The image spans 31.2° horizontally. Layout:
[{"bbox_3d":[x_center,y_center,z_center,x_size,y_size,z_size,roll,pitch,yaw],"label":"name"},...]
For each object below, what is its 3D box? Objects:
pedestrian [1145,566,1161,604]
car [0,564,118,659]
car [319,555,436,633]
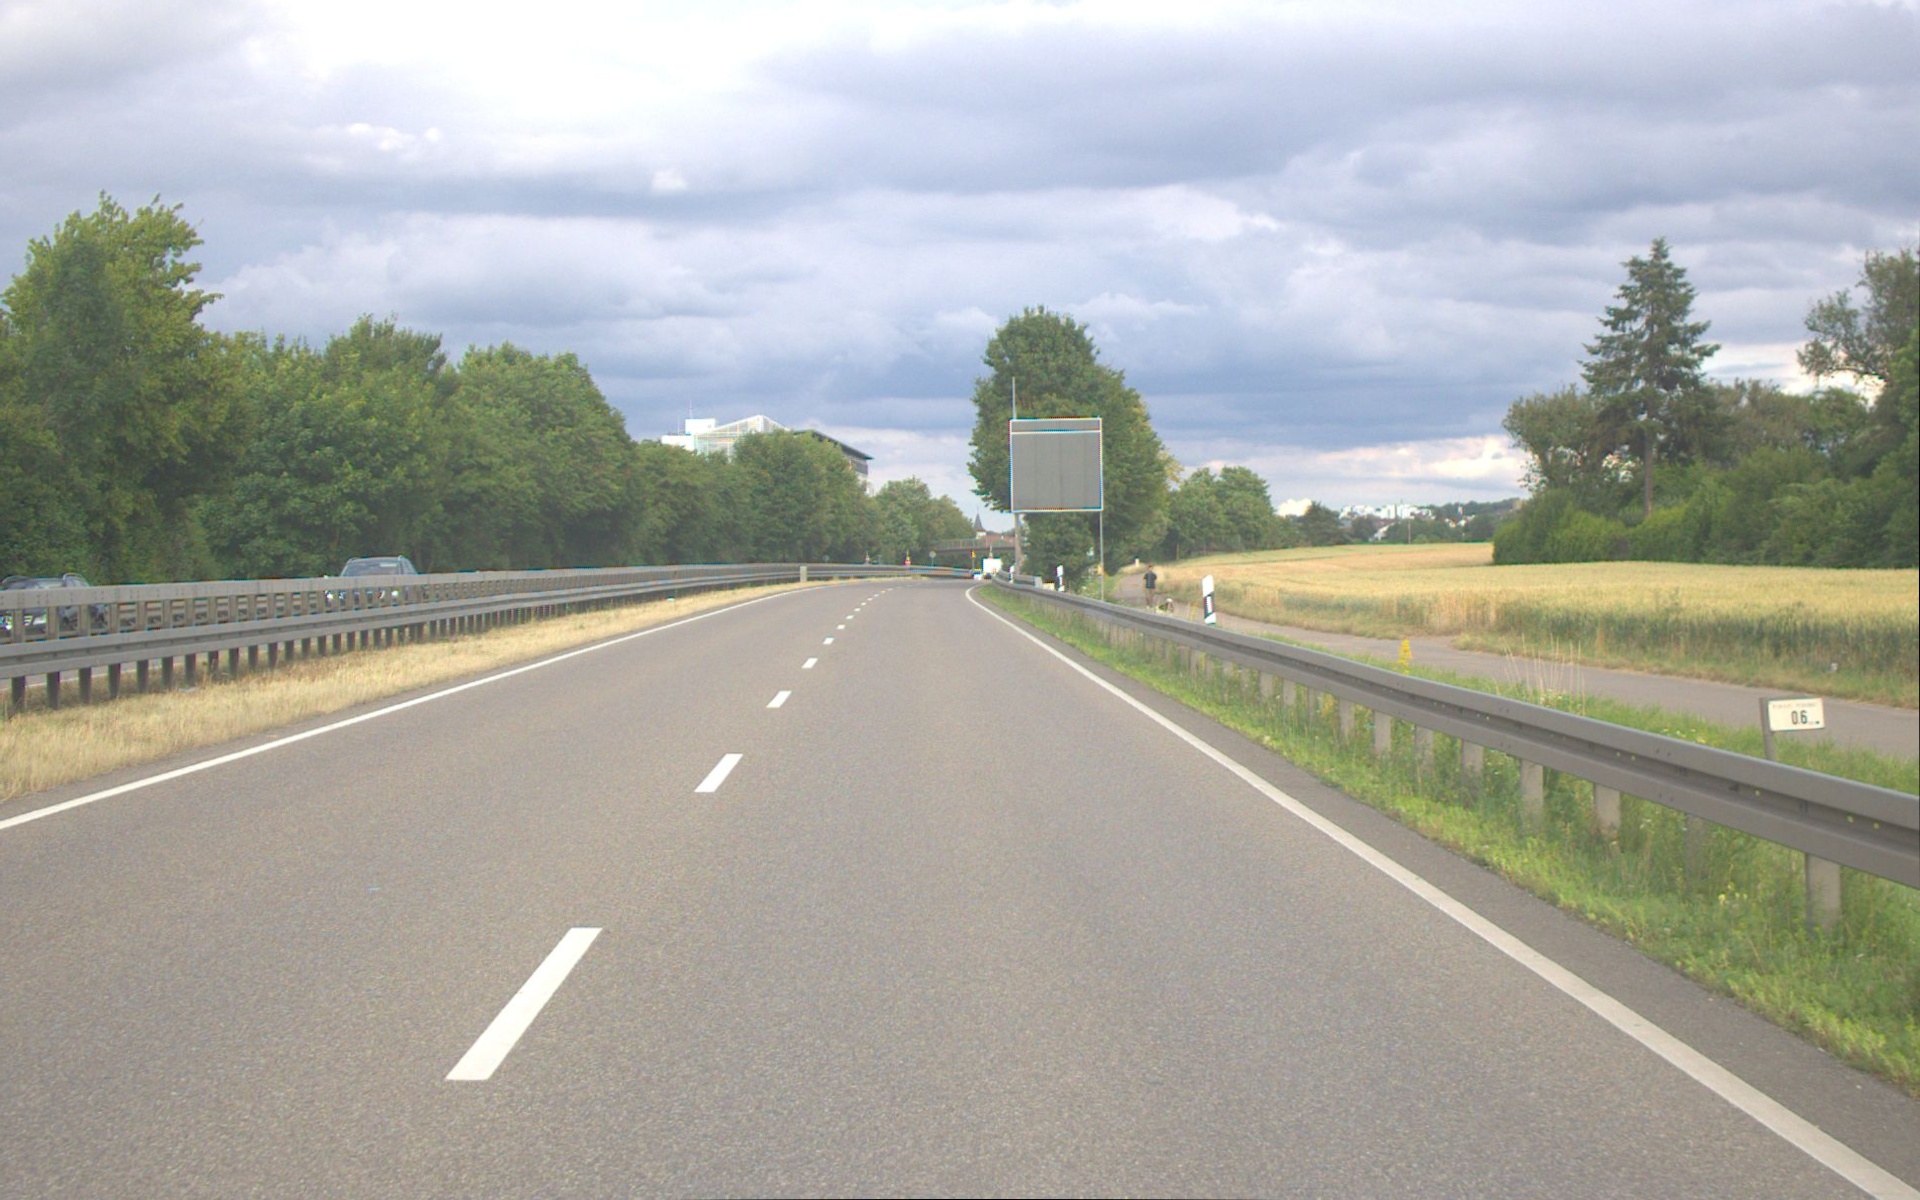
[{"bbox_3d":[8.306,-0.648,147.915,0.601,1.660,0.543,1,0,-3],"label":"pedestrian"},{"bbox_3d":[-17.069,0.198,63.613,1.797,1.620,4.483,-2,1,0],"label":"car"},{"bbox_3d":[-13.032,-0.154,77.166,1.797,1.620,4.483,-2,1,0],"label":"car"}]
